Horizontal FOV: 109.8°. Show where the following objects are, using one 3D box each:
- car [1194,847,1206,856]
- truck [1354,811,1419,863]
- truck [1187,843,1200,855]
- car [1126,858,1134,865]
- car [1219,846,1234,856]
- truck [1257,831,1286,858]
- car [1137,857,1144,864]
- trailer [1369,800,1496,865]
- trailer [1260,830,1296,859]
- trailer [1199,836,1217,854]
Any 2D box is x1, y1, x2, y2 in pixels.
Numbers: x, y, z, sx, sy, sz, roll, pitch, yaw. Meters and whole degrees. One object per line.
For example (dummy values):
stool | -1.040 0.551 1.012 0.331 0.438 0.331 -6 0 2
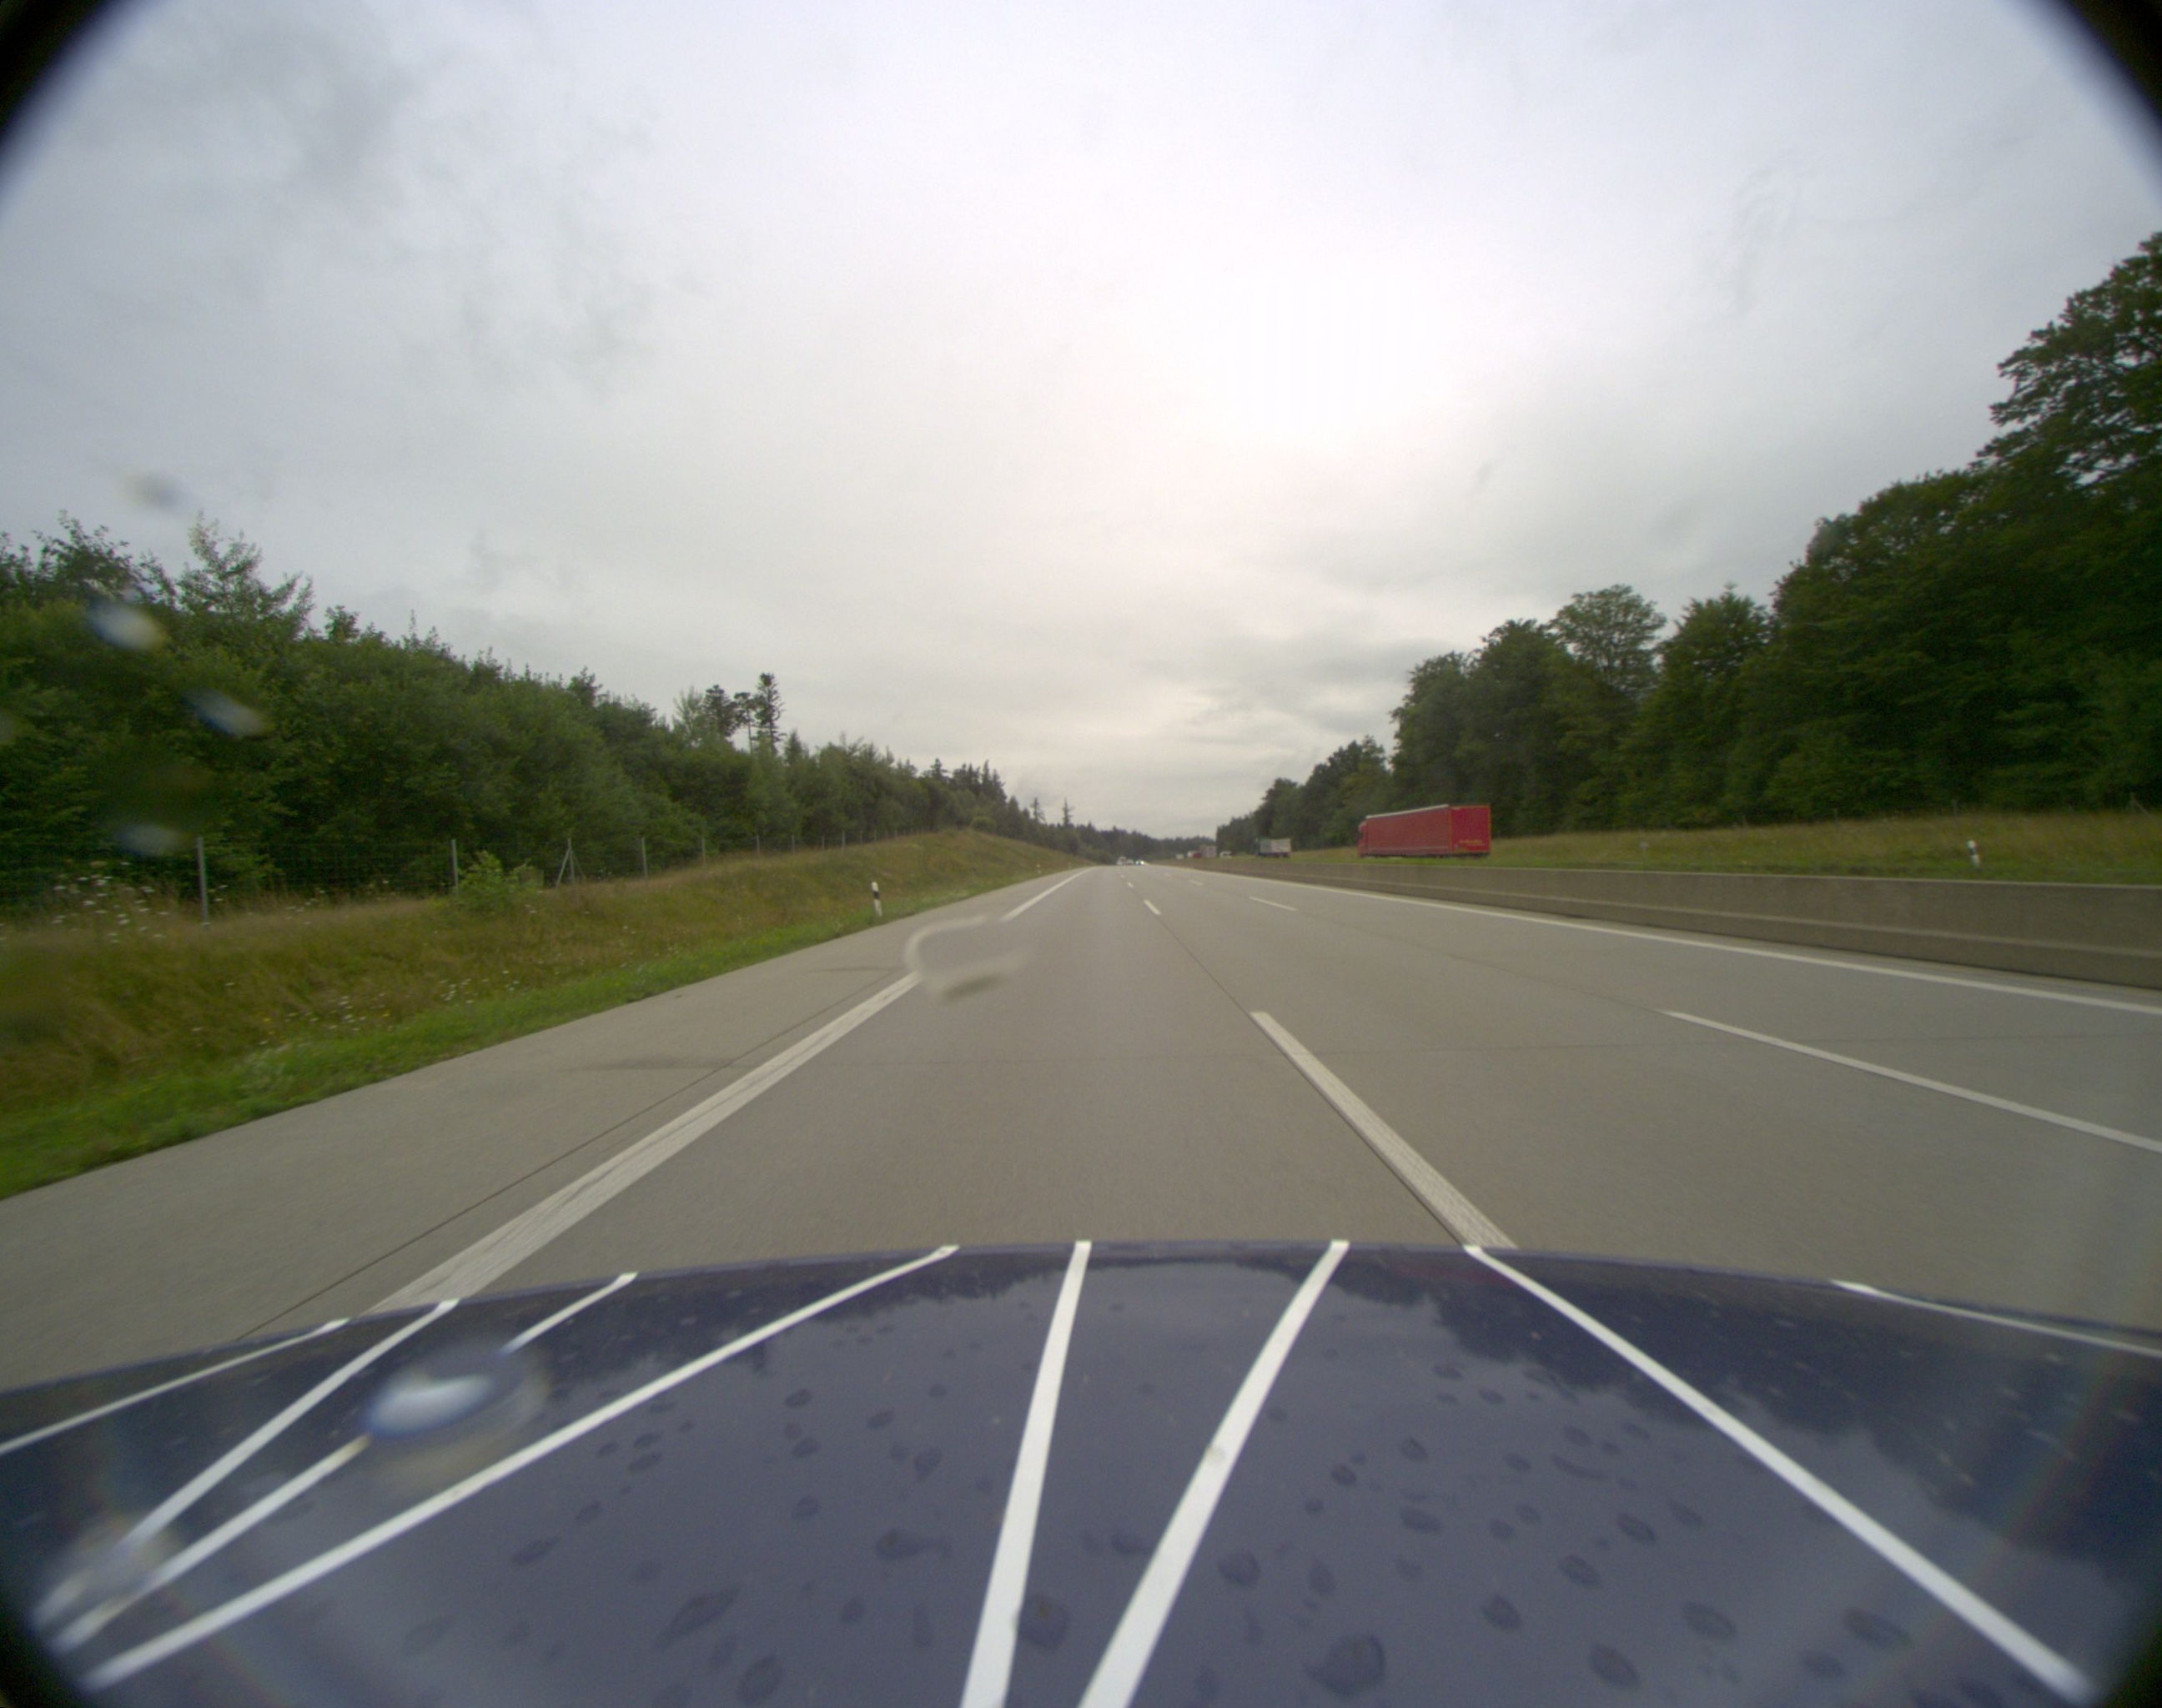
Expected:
car | 25.984 -0.645 166.150 1.998 1.871 5.315 -2 0 4
truck | 24.688 -1.304 61.784 2.559 3.905 6.947 -2 0 2
truck | 25.828 -1.178 174.580 2.273 2.772 6.513 -2 0 4
car | 14.190 2.178 220.631 2.213 2.001 4.836 -3 -2 2
car | 23.714 -0.520 124.195 1.784 1.590 4.561 -2 0 3
truck | 27.239 -1.285 109.062 2.787 3.718 5.661 -2 0 2
car | 18.606 2.067 236.736 1.764 1.871 4.000 -2 0 1
trailer | 24.450 -1.313 54.109 2.614 3.921 14.380 -2 0 2
trailer | 27.080 -1.294 104.785 2.810 3.678 9.013 -2 0 2
trailer | 30.686 -2.139 184.094 2.503 4.079 13.977 -2 0 3
